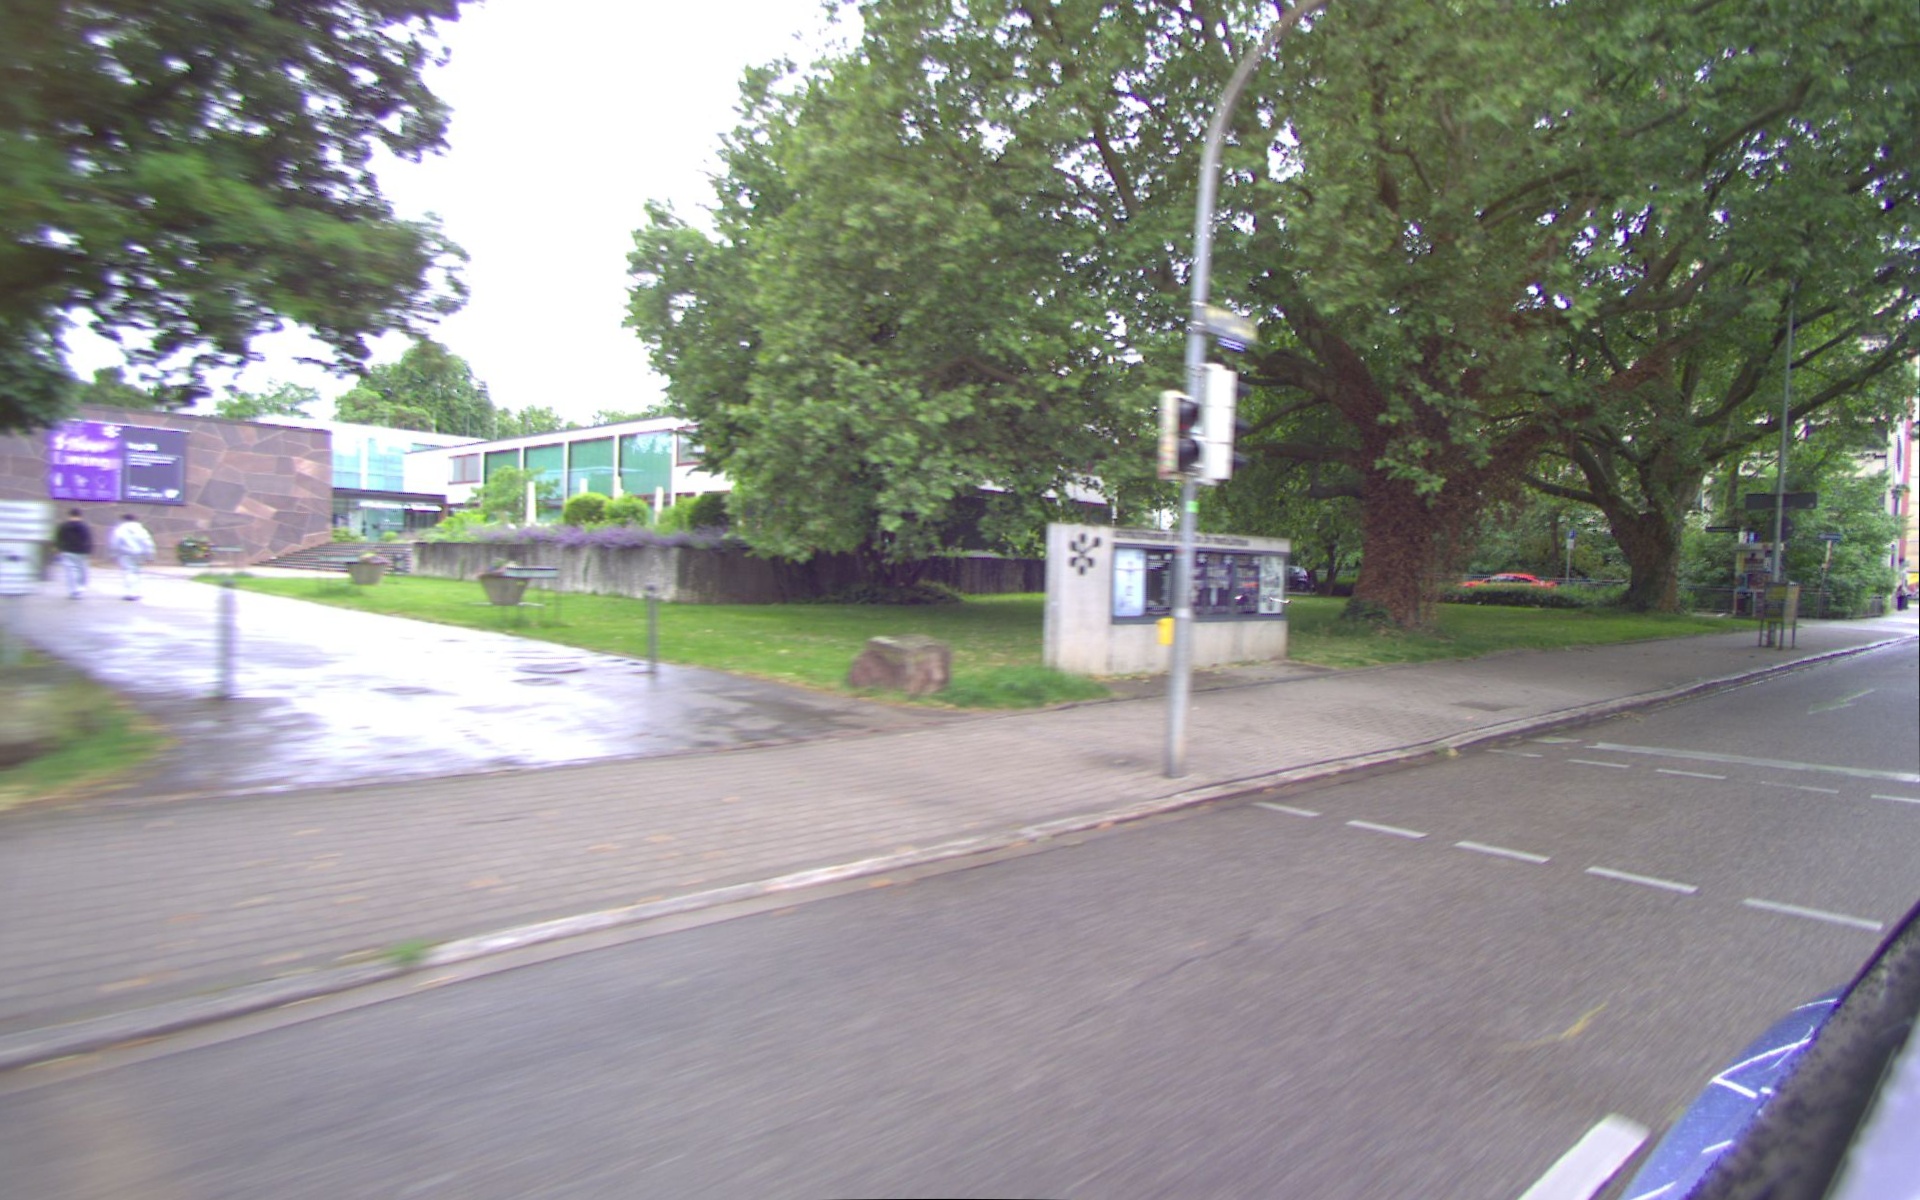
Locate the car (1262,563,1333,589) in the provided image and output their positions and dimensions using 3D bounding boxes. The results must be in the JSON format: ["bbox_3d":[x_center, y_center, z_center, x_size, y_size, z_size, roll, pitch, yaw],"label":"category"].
[{"bbox_3d":[18.854,-1.341,56.643,3.460,1.294,1.426,5,4,44],"label":"car"}]

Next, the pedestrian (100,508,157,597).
[{"bbox_3d":[-16.614,-0.925,20.222,0.663,1.734,0.779,0,0,41],"label":"pedestrian"}]

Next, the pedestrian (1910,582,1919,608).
[{"bbox_3d":[58.366,-0.315,61.751,0.473,1.548,0.480,0,3,-41],"label":"pedestrian"}]

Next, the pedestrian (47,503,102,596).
[{"bbox_3d":[-17.393,-0.967,19.879,0.663,1.778,0.713,0,0,41],"label":"pedestrian"}]

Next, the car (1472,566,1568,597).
[{"bbox_3d":[26.924,-0.935,48.743,3.778,1.294,1.553,5,4,42],"label":"car"}]
